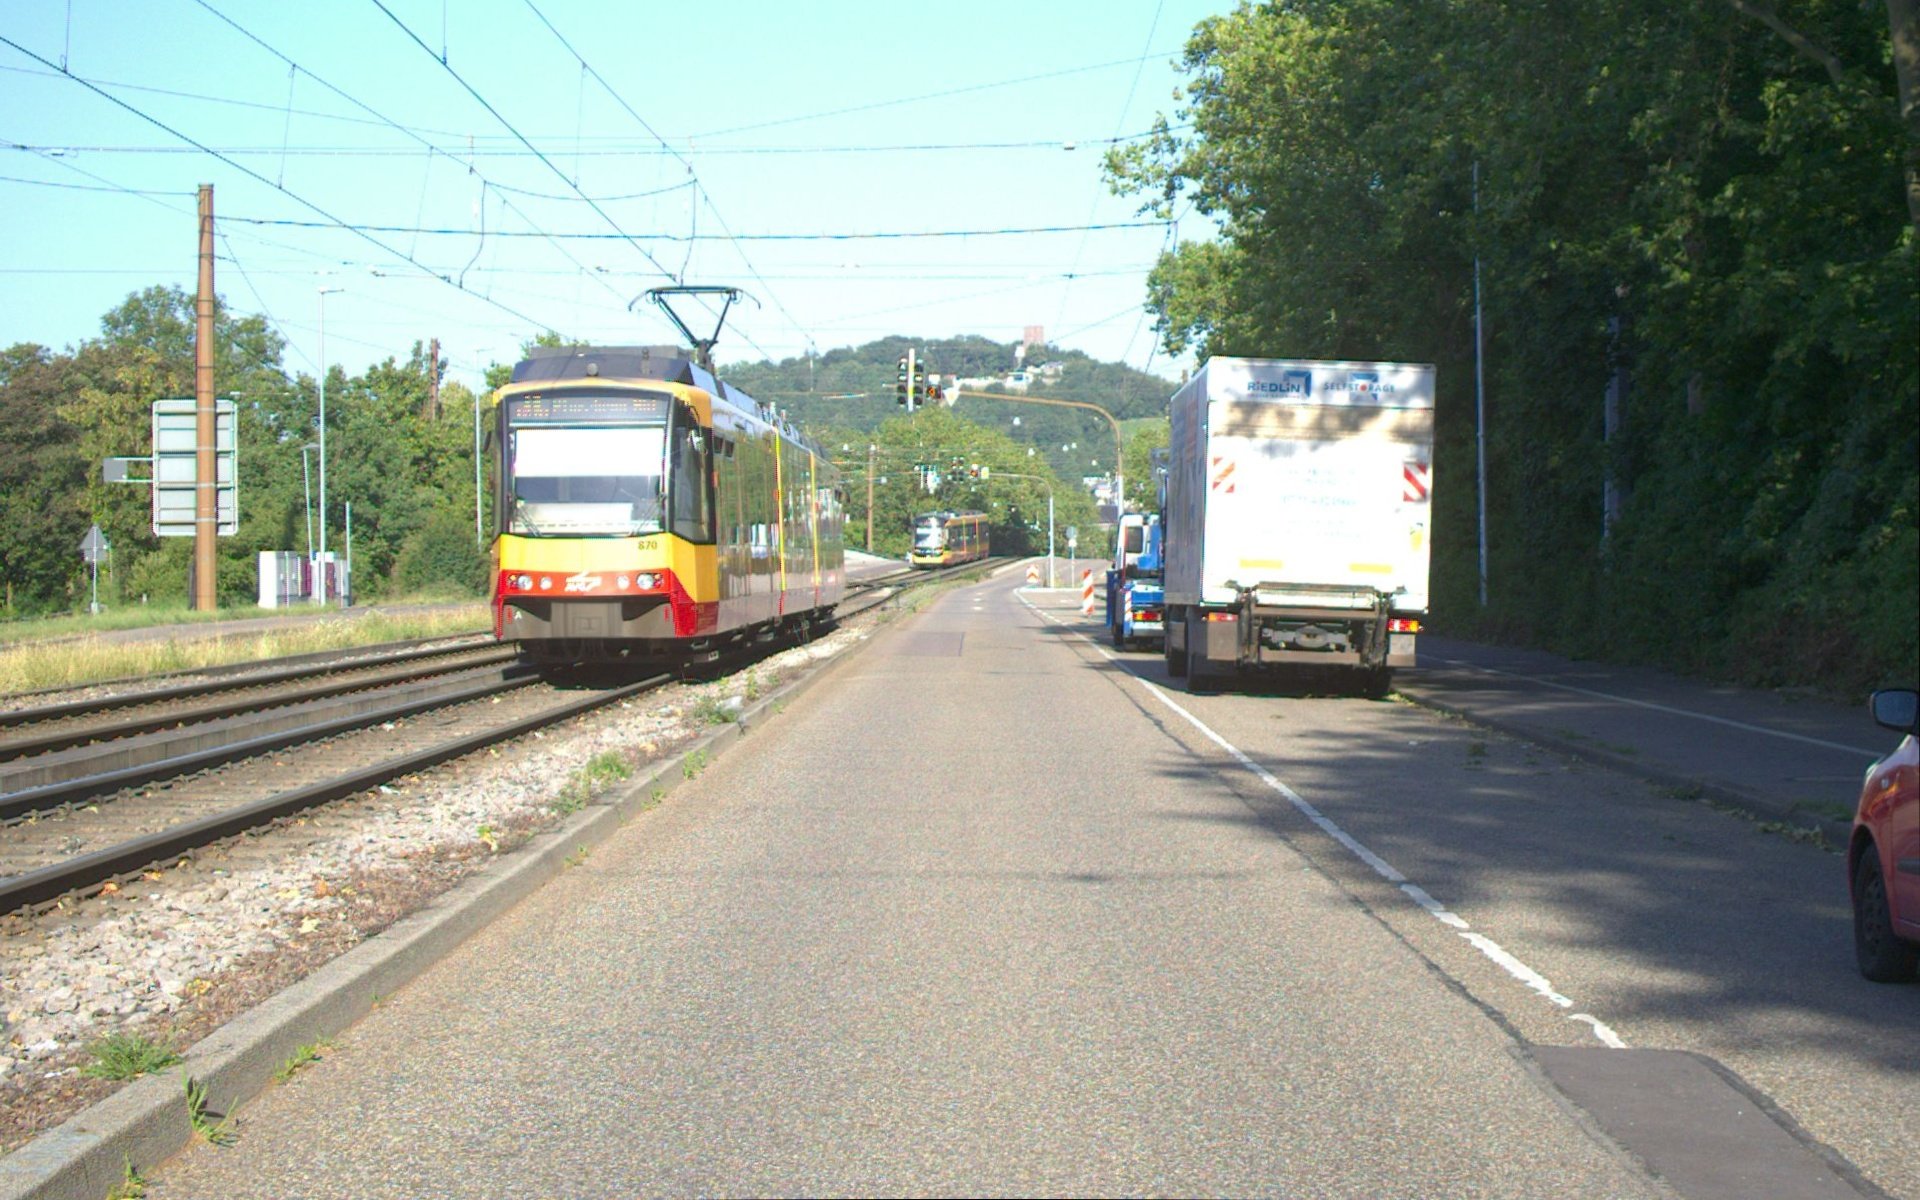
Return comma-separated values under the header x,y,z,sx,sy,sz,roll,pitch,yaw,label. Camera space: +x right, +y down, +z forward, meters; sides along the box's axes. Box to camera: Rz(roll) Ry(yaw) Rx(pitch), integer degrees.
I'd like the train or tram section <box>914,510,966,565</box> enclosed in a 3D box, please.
x,y,z,sx,sy,sz,roll,pitch,yaw,label
-1.318,-4.118,228.714,2.644,3.555,10.831,0,1,4,train or tram section

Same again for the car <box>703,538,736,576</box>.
x,y,z,sx,sy,sz,roll,pitch,yaw,label
-13.425,-2.394,191.893,1.723,2.007,4.000,2,0,-3,car

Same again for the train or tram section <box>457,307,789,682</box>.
x,y,z,sx,sy,sz,roll,pitch,yaw,label
-4.036,-1.240,44.514,2.721,4.077,13.615,-1,1,1,train or tram section

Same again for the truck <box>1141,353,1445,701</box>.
x,y,z,sx,sy,sz,roll,pitch,yaw,label
3.958,-0.869,43.146,2.742,3.770,10.089,2,1,0,truck

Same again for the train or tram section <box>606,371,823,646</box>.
x,y,z,sx,sy,sz,roll,pitch,yaw,label
-3.868,-1.432,56.323,2.694,4.075,9.910,-1,1,1,train or tram section

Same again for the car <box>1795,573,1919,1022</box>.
x,y,z,sx,sy,sz,roll,pitch,yaw,label
4.144,0.720,11.778,1.640,1.531,3.640,3,1,1,car

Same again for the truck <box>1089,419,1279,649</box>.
x,y,z,sx,sy,sz,roll,pitch,yaw,label
3.938,-1.168,62.508,2.717,3.770,9.761,2,1,0,truck

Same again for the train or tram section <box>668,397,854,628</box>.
x,y,z,sx,sy,sz,roll,pitch,yaw,label
-3.742,-1.644,67.676,2.719,4.075,12.813,-1,1,1,train or tram section
